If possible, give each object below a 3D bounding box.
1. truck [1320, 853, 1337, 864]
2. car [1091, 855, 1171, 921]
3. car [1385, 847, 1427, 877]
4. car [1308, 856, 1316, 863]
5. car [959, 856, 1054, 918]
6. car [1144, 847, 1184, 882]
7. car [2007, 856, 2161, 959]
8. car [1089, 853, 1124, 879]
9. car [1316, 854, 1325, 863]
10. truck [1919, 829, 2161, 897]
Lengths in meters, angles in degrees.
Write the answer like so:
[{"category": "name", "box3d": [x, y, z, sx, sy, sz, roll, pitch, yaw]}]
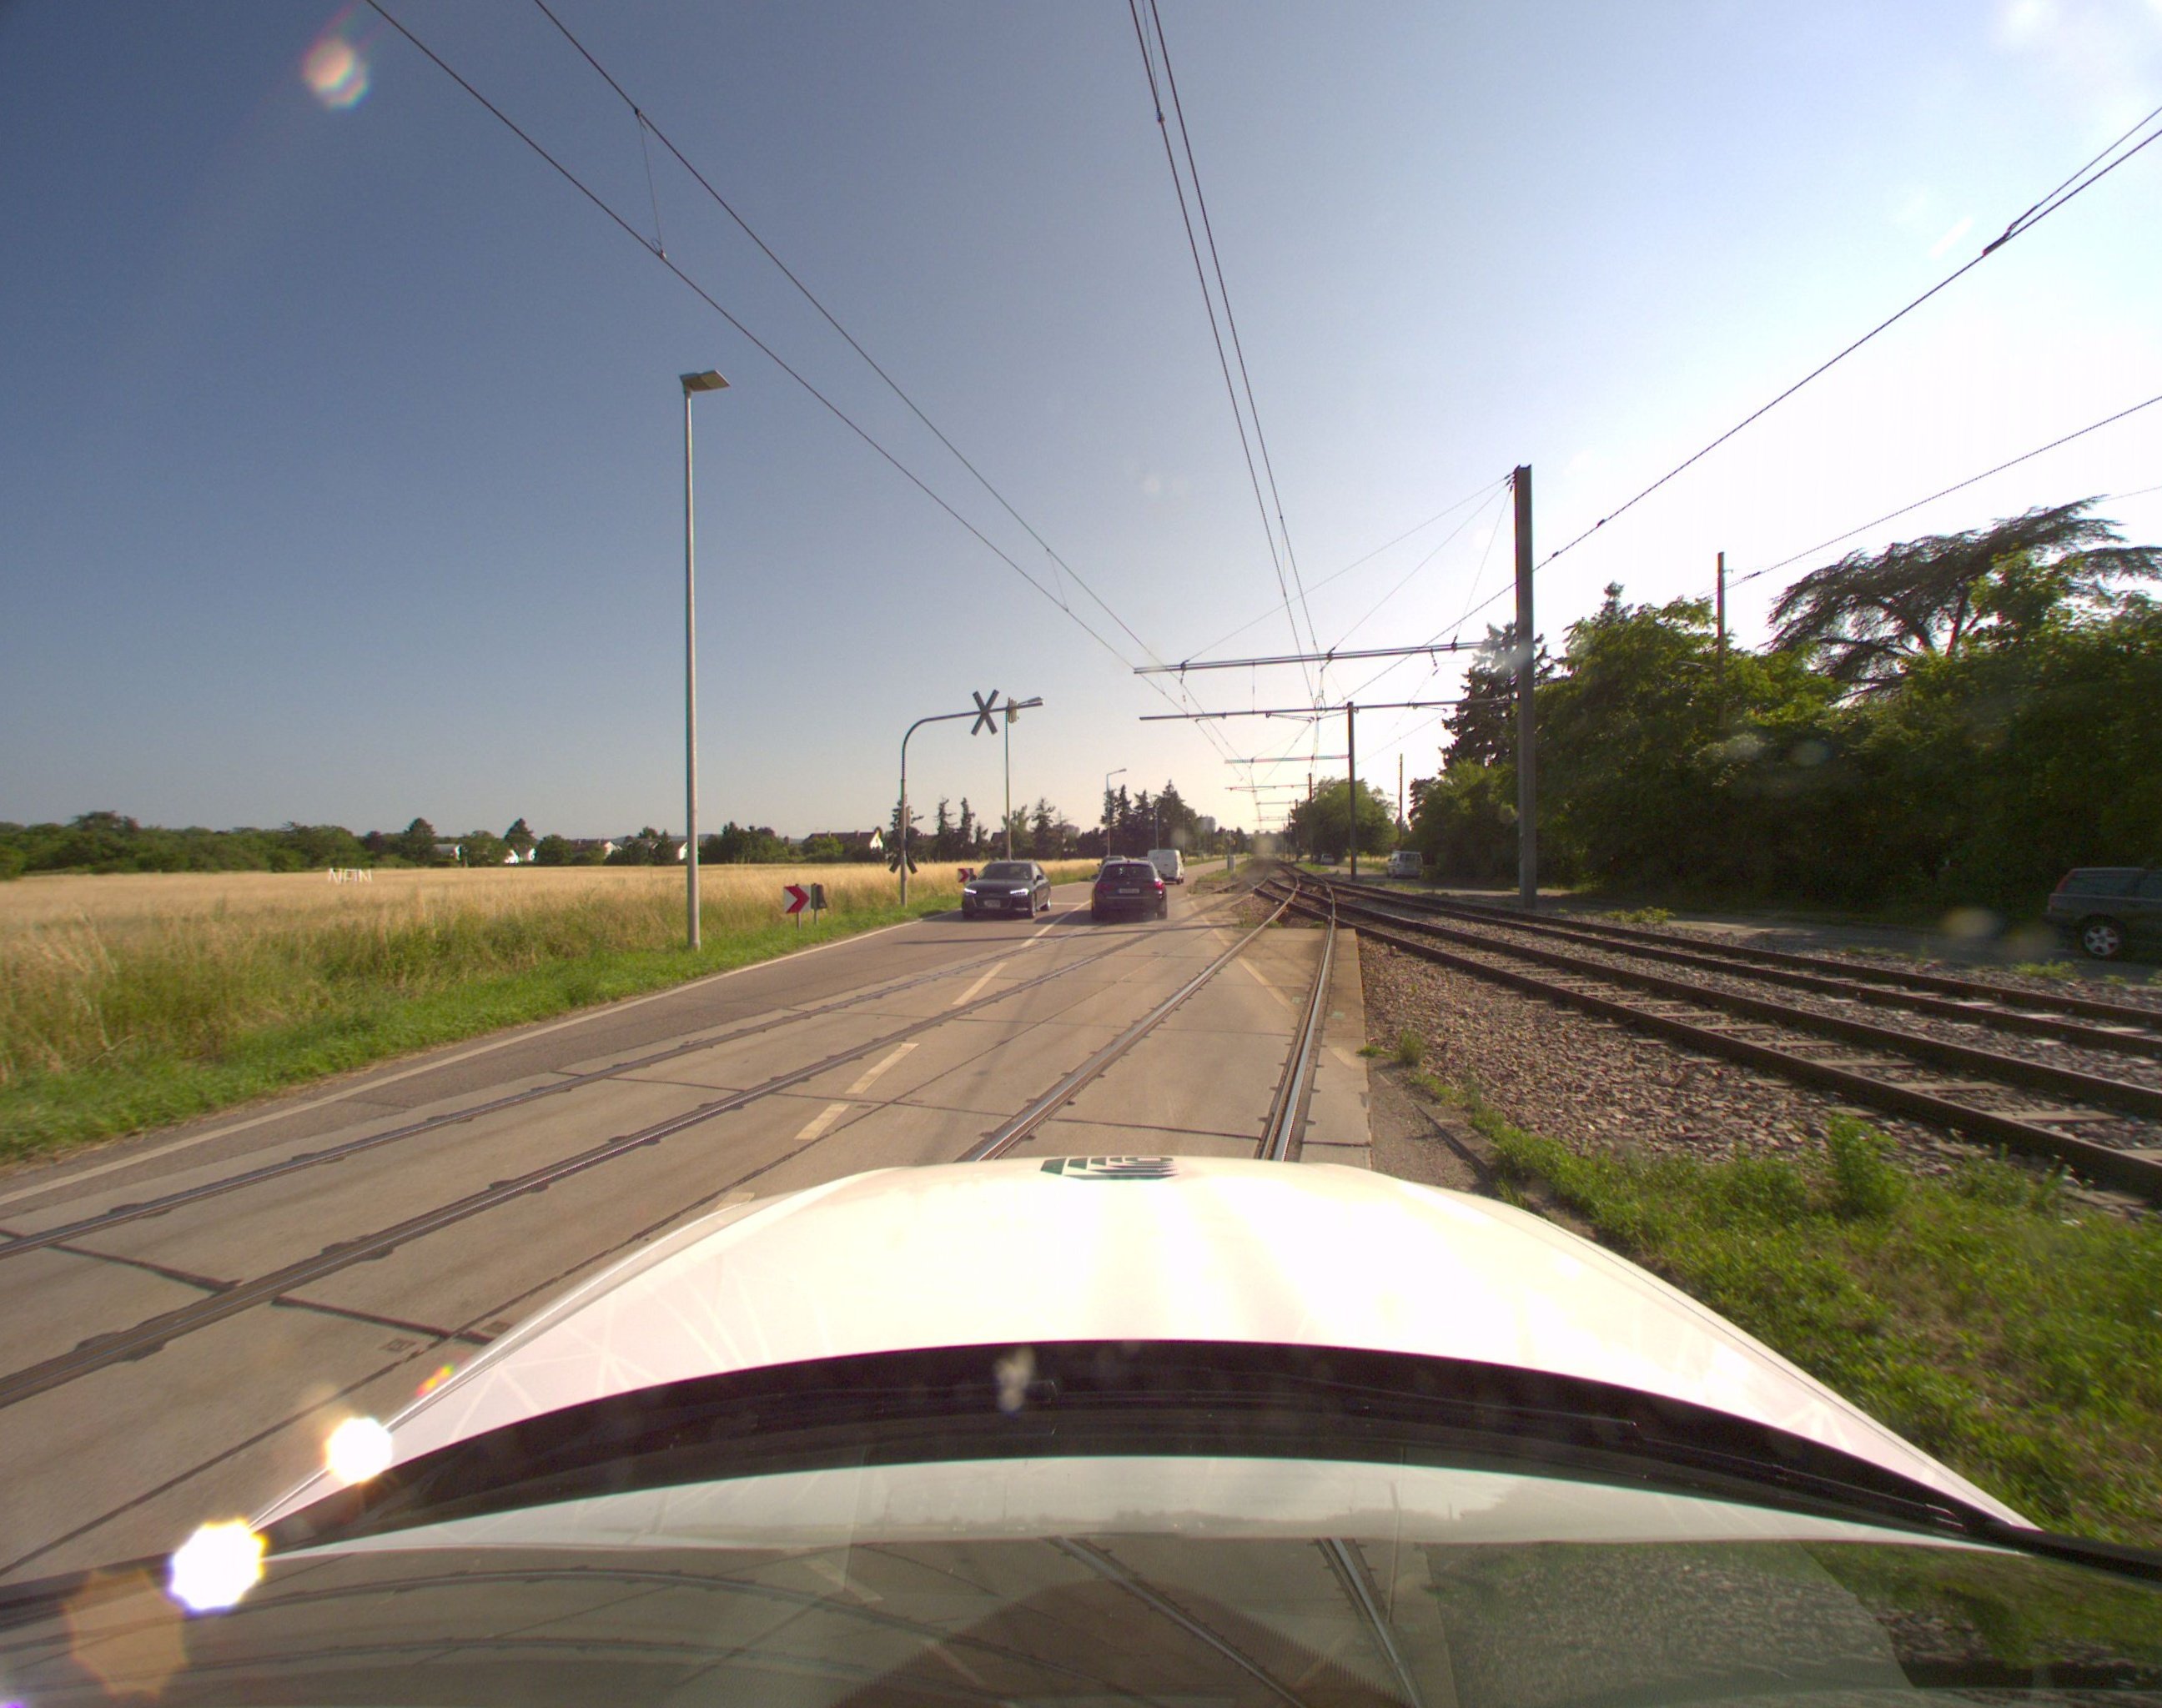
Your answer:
[{"category": "truck", "box3d": [40.523, 0.758, 133.457, 2.189, 1.819, 5.949, -1, 0, 12]}, {"category": "car", "box3d": [1.302, 0.801, 21.391, 1.861, 1.452, 4.748, 0, 1, 3]}, {"category": "car", "box3d": [23.685, 0.540, 59.572, 1.980, 2.004, 5.084, 2, 0, 12]}, {"category": "car", "box3d": [50.639, 1.151, 178.596, 1.610, 1.398, 3.502, 1, -1, 13]}, {"category": "car", "box3d": [-1.864, 0.807, 21.733, 1.684, 1.439, 4.291, 0, 0, 6]}, {"category": "car", "box3d": [4.970, 0.577, 48.111, 1.845, 1.988, 5.124, 0, 0, 11]}, {"category": "car", "box3d": [16.243, 0.807, 11.250, 1.690, 1.456, 4.889, 2, 1, 6]}, {"category": "car", "box3d": [1.748, 0.752, 54.011, 1.696, 1.665, 4.602, 0, 0, 9]}, {"category": "car", "box3d": [47.247, 0.973, 160.863, 1.722, 1.679, 3.558, 1, -1, 15]}, {"category": "truck", "box3d": [29.301, 0.240, 24.975, 1.984, 1.854, 5.416, 0, 0, 5]}]
